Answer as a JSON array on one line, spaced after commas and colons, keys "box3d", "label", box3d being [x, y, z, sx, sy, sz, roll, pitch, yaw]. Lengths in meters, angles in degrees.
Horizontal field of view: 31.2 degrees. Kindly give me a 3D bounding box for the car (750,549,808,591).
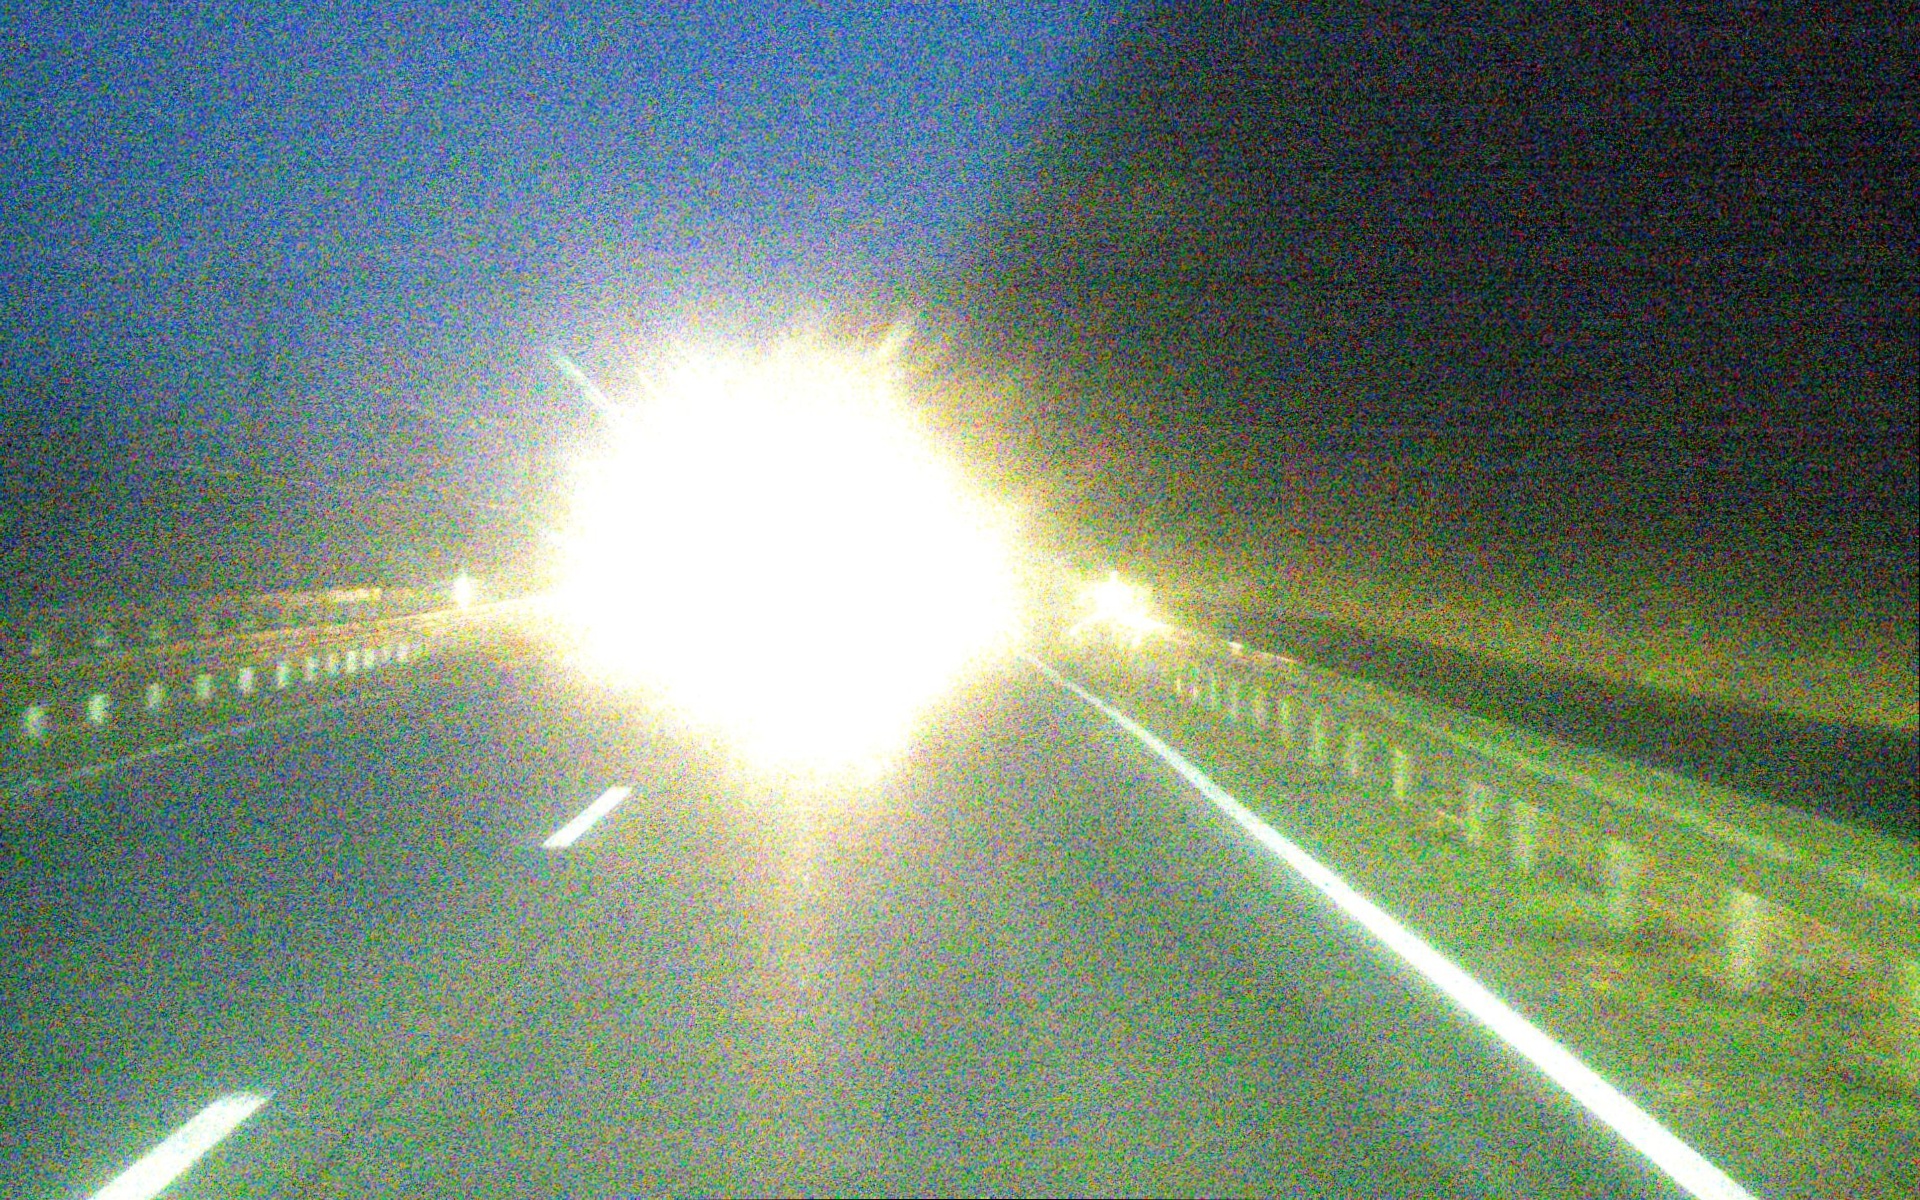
[{"box3d": [-6.714, -1.103, 127.506, 1.993, 1.470, 3.924, 1, 0, -1], "label": "car"}]
